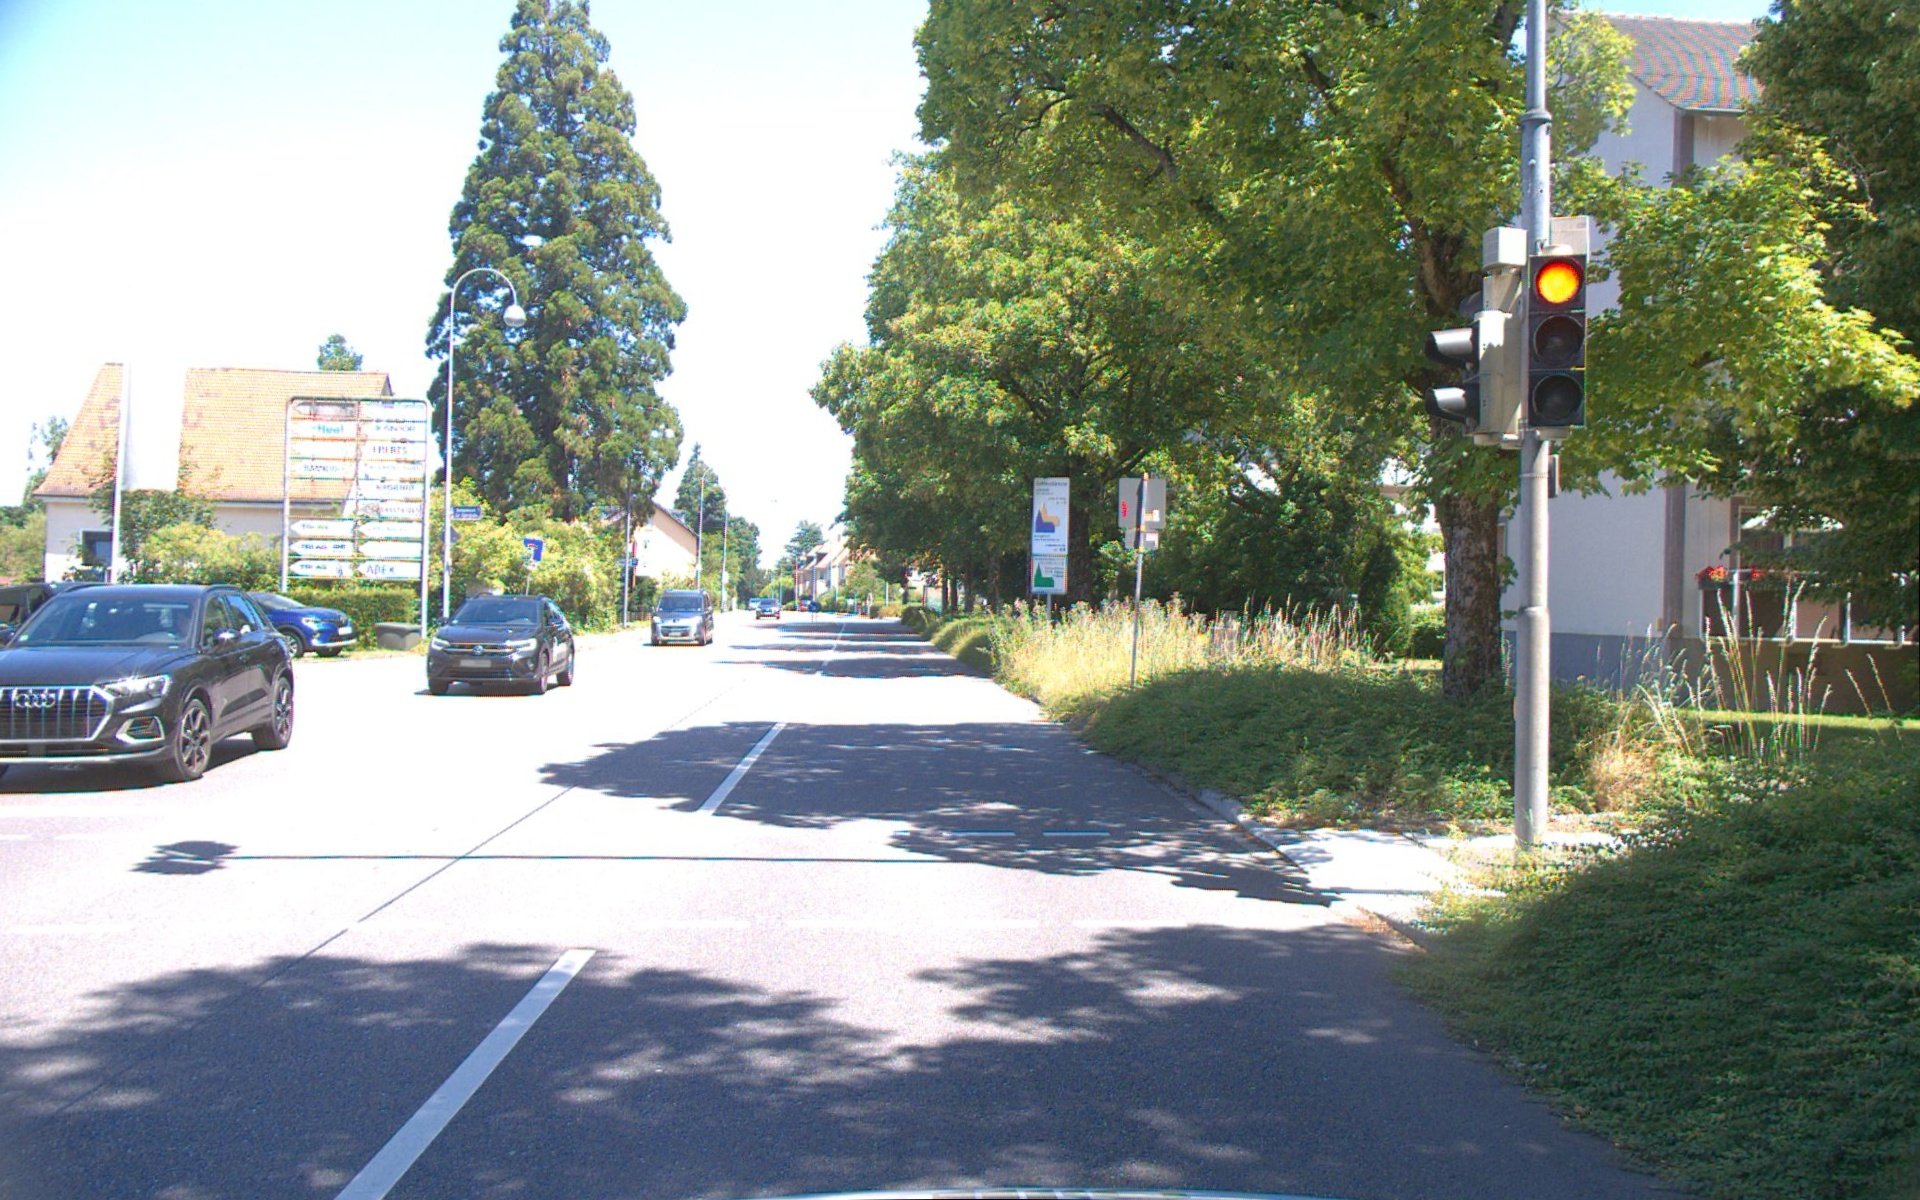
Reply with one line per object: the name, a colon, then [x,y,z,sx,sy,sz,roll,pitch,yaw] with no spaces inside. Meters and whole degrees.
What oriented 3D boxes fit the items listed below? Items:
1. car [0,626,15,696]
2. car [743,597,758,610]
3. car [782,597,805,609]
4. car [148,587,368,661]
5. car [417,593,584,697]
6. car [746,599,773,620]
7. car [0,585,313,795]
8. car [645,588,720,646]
car: [-24.745,1.527,40.083,1.775,1.752,4.081,1,0,-8]
car: [-28.322,0.499,223.894,1.647,1.713,3.998,0,0,-2]
car: [-20.644,0.359,204.763,1.914,1.383,4.439,0,0,-19]
car: [-15.205,0.500,35.905,4.047,1.531,1.779,0,0,8]
car: [-7.240,0.663,26.428,1.832,1.533,4.049,0,0,-5]
car: [-15.370,0.714,127.019,1.758,1.563,4.312,1,0,-3]
car: [-7.277,0.680,14.645,1.890,1.582,4.295,0,0,-8]
car: [-9.060,0.532,54.332,1.774,1.793,4.569,1,0,-1]
